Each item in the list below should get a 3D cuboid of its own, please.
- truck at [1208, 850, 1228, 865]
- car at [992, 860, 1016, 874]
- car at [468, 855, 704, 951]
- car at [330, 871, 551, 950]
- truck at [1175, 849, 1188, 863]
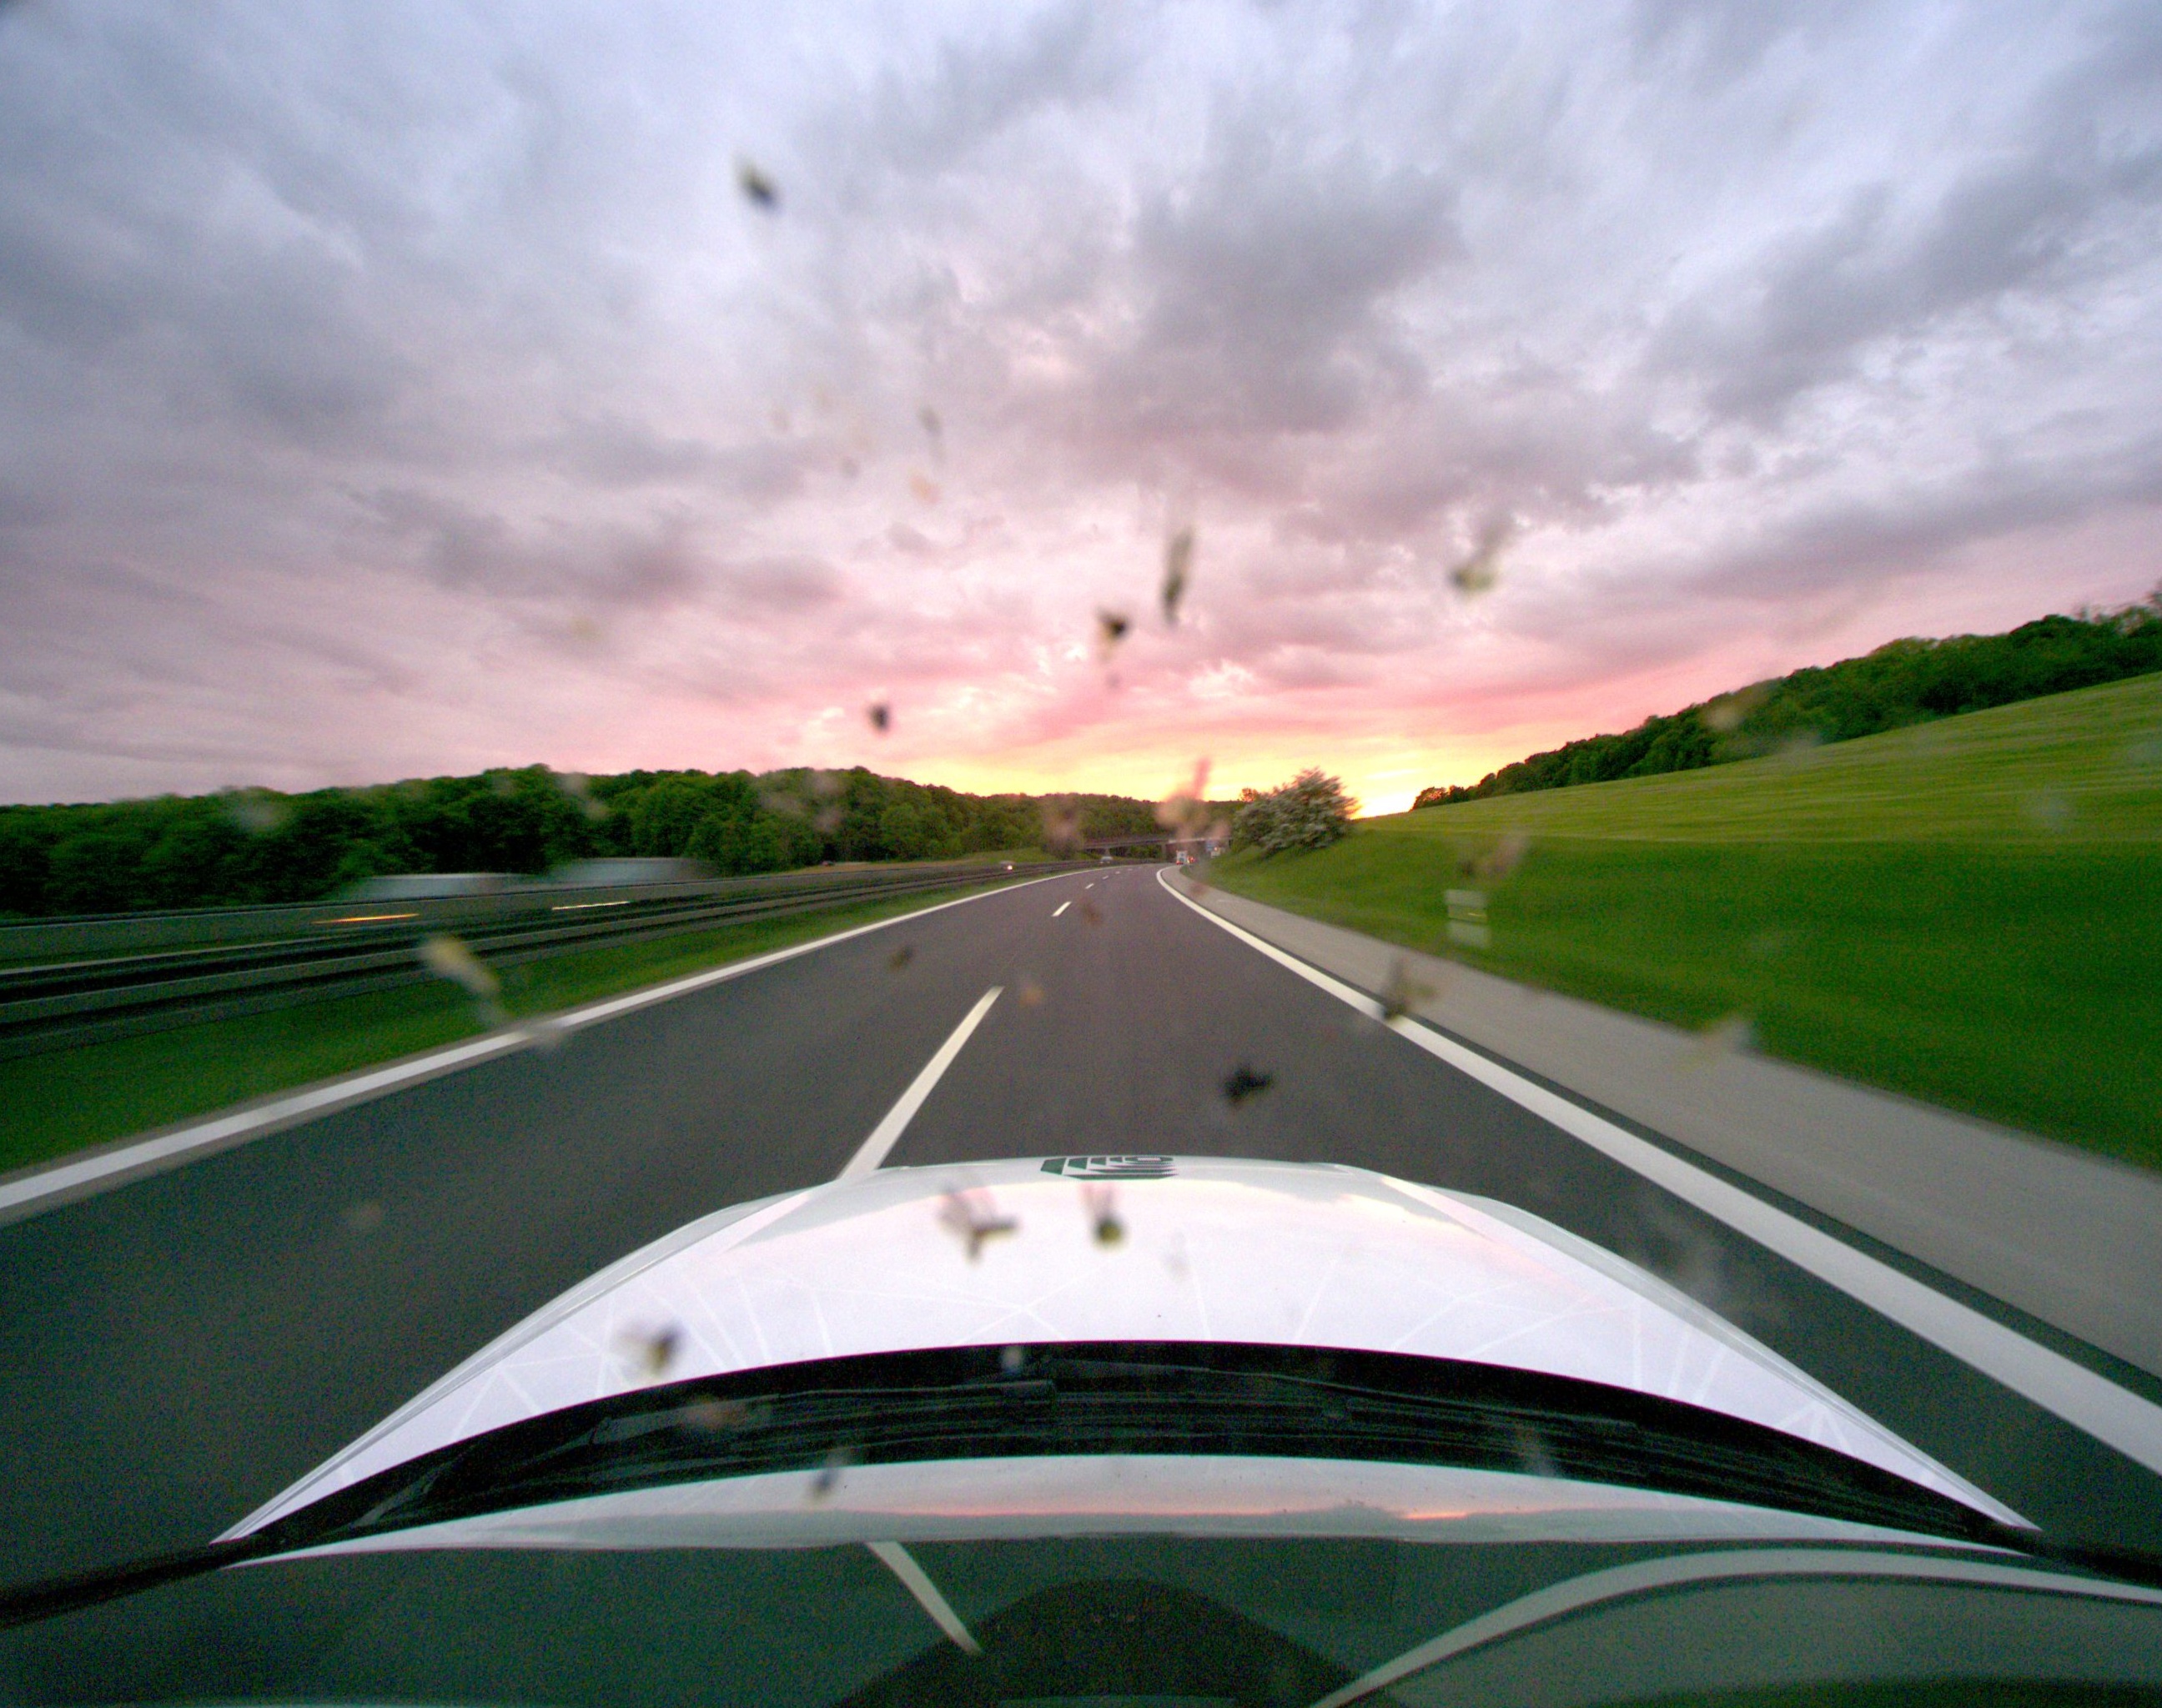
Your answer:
[{"bbox_3d":[39.093,0.980,231.997,3.927,4.287,14.385,-2,-1,17],"label":"truck"},{"bbox_3d":[-8.556,1.467,91.267,1.629,1.288,3.961,-5,0,9],"label":"car"},{"bbox_3d":[-10.092,0.907,17.173,1.987,1.727,4.770,0,-1,1],"label":"car"},{"bbox_3d":[-13.925,1.159,18.039,1.647,1.418,4.001,-1,0,1],"label":"car"},{"bbox_3d":[20.326,0.457,164.631,2.261,2.665,5.252,-3,0,11],"label":"truck"}]
